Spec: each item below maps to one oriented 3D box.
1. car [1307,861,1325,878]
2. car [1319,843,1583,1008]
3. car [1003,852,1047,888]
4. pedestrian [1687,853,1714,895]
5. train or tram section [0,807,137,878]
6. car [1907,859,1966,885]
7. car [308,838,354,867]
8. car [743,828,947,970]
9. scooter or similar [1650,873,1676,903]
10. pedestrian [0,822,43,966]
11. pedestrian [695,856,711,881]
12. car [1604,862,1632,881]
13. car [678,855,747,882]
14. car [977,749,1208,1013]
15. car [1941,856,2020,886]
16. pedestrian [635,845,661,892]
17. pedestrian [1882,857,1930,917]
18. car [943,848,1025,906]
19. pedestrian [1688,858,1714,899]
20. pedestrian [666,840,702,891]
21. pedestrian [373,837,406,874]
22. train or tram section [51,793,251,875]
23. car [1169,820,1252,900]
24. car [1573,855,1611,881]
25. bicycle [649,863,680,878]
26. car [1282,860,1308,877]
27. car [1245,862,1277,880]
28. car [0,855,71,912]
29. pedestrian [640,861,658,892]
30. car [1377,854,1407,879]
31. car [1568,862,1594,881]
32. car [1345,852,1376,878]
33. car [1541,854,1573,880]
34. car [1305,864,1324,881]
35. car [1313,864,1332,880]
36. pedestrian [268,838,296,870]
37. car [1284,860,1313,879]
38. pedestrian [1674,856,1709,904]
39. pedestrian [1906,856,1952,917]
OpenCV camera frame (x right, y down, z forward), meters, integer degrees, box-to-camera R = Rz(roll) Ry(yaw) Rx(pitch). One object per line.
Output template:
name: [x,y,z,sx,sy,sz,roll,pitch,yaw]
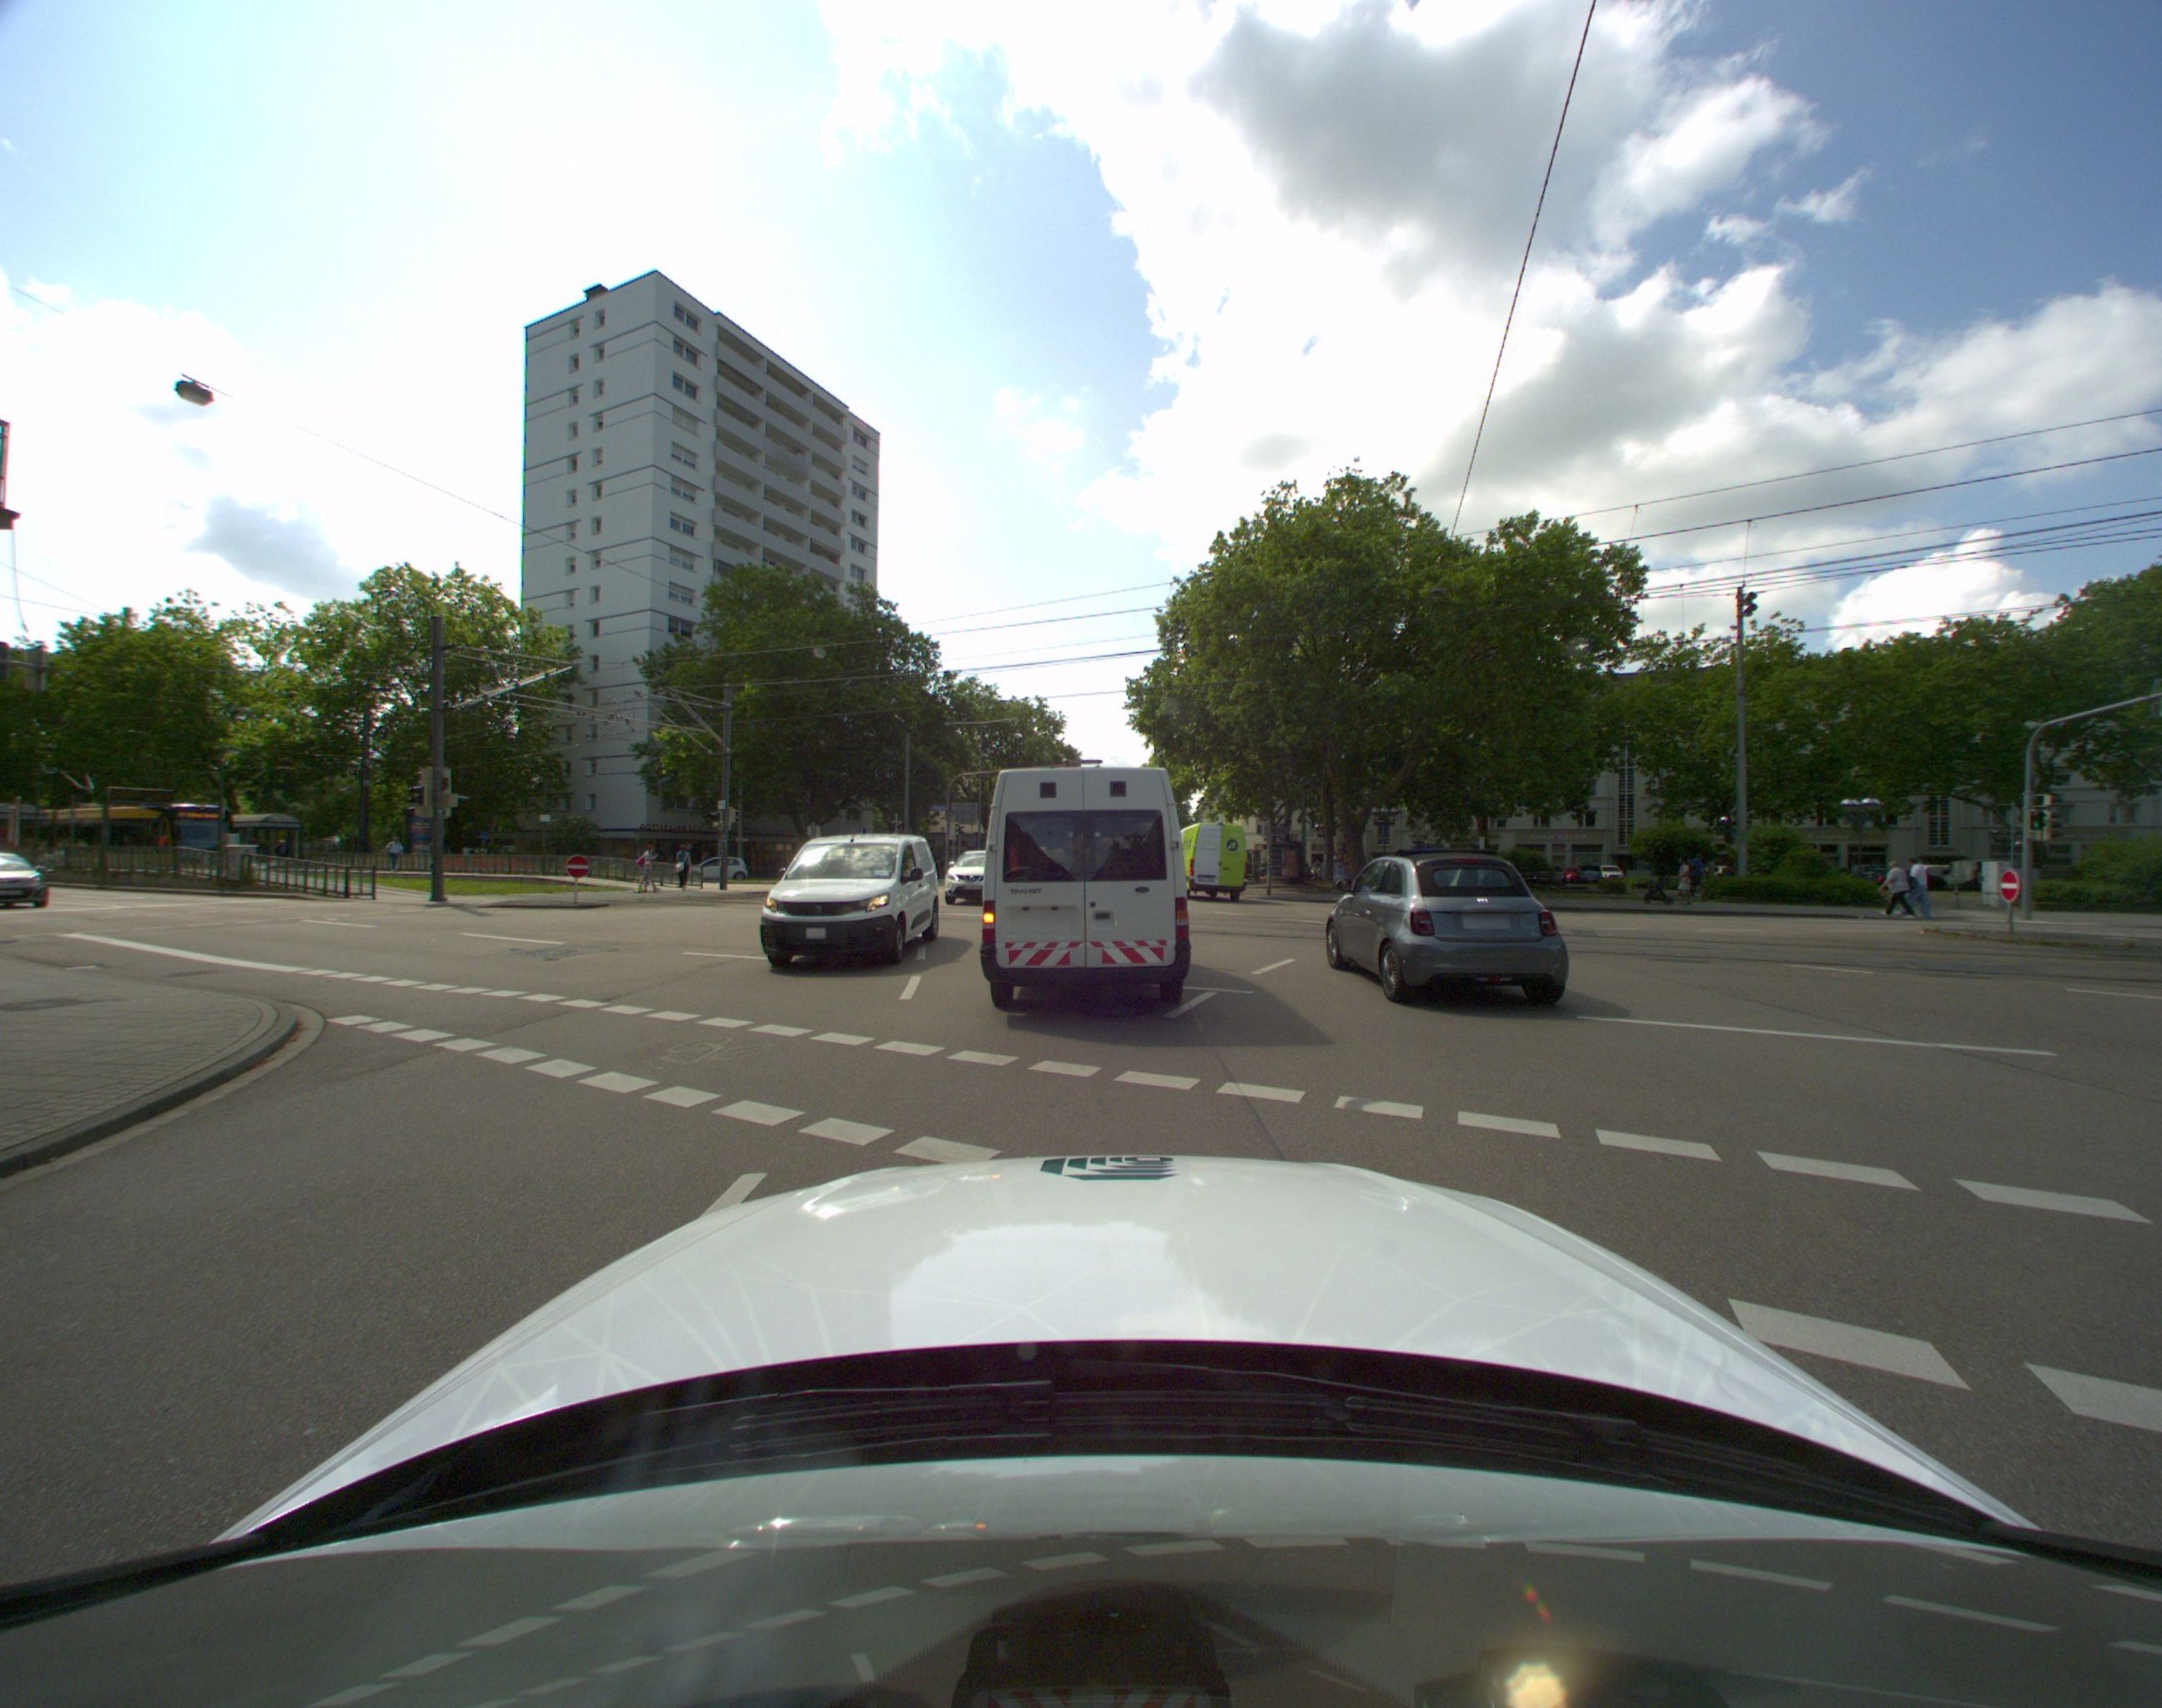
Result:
car: [24.138,1.567,83.622,1.453,1.666,3.083,0,-1,22]
car: [3.990,0.664,9.410,1.684,1.538,3.472,0,0,4]
car: [-2.528,0.707,37.571,1.742,1.540,3.930,-2,0,-1]
pedestrian: [25.705,0.829,33.806,0.694,1.750,0.606,0,-1,2]
train or tram section: [-55.622,-0.575,44.306,10.275,3.584,2.821,0,-1,25]
car: [66.419,1.384,63.285,1.975,1.964,4.024,0,-1,28]
car: [-73.253,-0.122,79.542,4.225,2.775,1.823,0,-1,25]
car: [-3.321,0.538,12.388,1.806,1.775,4.283,0,1,0]
scooter or similar: [20.519,1.190,28.727,0.699,1.056,0.494,0,-1,27]
pedestrian: [-14.386,0.500,10.446,0.800,1.860,0.905,1,-3,1]
pedestrian: [-23.545,0.897,50.738,0.775,1.599,0.538,0,-1,23]
car: [47.571,1.545,72.180,1.722,1.637,4.024,0,-1,28]
car: [-21.798,0.879,48.183,3.586,1.544,1.543,1,-1,-30]
car: [0.083,0.232,9.578,2.041,2.333,4.712,0,0,-1]
car: [59.885,1.132,54.339,2.078,1.905,4.518,0,-1,28]
pedestrian: [-15.720,0.510,29.566,0.667,1.666,0.630,-1,0,40]
pedestrian: [24.420,0.968,24.113,0.714,1.722,0.693,0,0,2]
car: [-2.845,0.627,24.662,1.763,1.582,4.023,-1,0,3]
pedestrian: [26.736,1.040,35.128,0.694,1.750,0.606,0,-1,2]
pedestrian: [-15.062,0.429,30.903,0.836,1.899,0.834,0,-1,26]
pedestrian: [-34.038,0.087,40.113,1.032,1.780,0.856,0,-1,26]
train or tram section: [-45.149,-0.880,39.368,12.855,3.584,2.832,0,-1,25]
car: [4.602,0.207,29.977,2.112,2.641,6.328,0,0,0]
car: [40.195,1.075,64.121,1.976,2.014,4.022,0,-1,24]
bicycle: [-27.583,1.100,53.963,1.736,1.009,0.528,1,-1,-38]
car: [22.260,1.498,84.725,1.888,1.796,4.746,0,-1,23]
car: [16.552,1.523,74.868,2.009,1.600,4.564,0,-1,24]
car: [-28.831,0.740,21.618,3.599,1.438,1.648,0,0,24]
pedestrian: [-15.398,0.797,29.022,0.431,1.063,0.423,0,-1,40]
car: [26.757,1.083,70.035,1.975,2.076,4.023,0,-1,26]
car: [45.062,1.547,73.476,1.722,1.637,4.024,0,-1,28]
car: [24.337,0.994,70.818,1.975,2.183,4.282,0,-1,26]
car: [38.188,1.070,65.411,1.975,2.014,4.024,0,-1,27]
car: [19.728,1.514,68.677,1.454,1.389,3.080,0,-1,17]
car: [21.503,1.568,72.346,1.453,1.389,3.251,0,-1,19]
pedestrian: [-45.331,0.009,46.186,0.866,1.775,0.865,0,-1,26]
car: [19.775,1.373,73.896,1.888,1.690,4.564,0,-1,24]
pedestrian: [21.240,0.886,28.343,0.911,1.646,0.573,0,-1,27]
pedestrian: [25.176,0.946,24.189,0.665,1.764,0.693,0,0,2]
